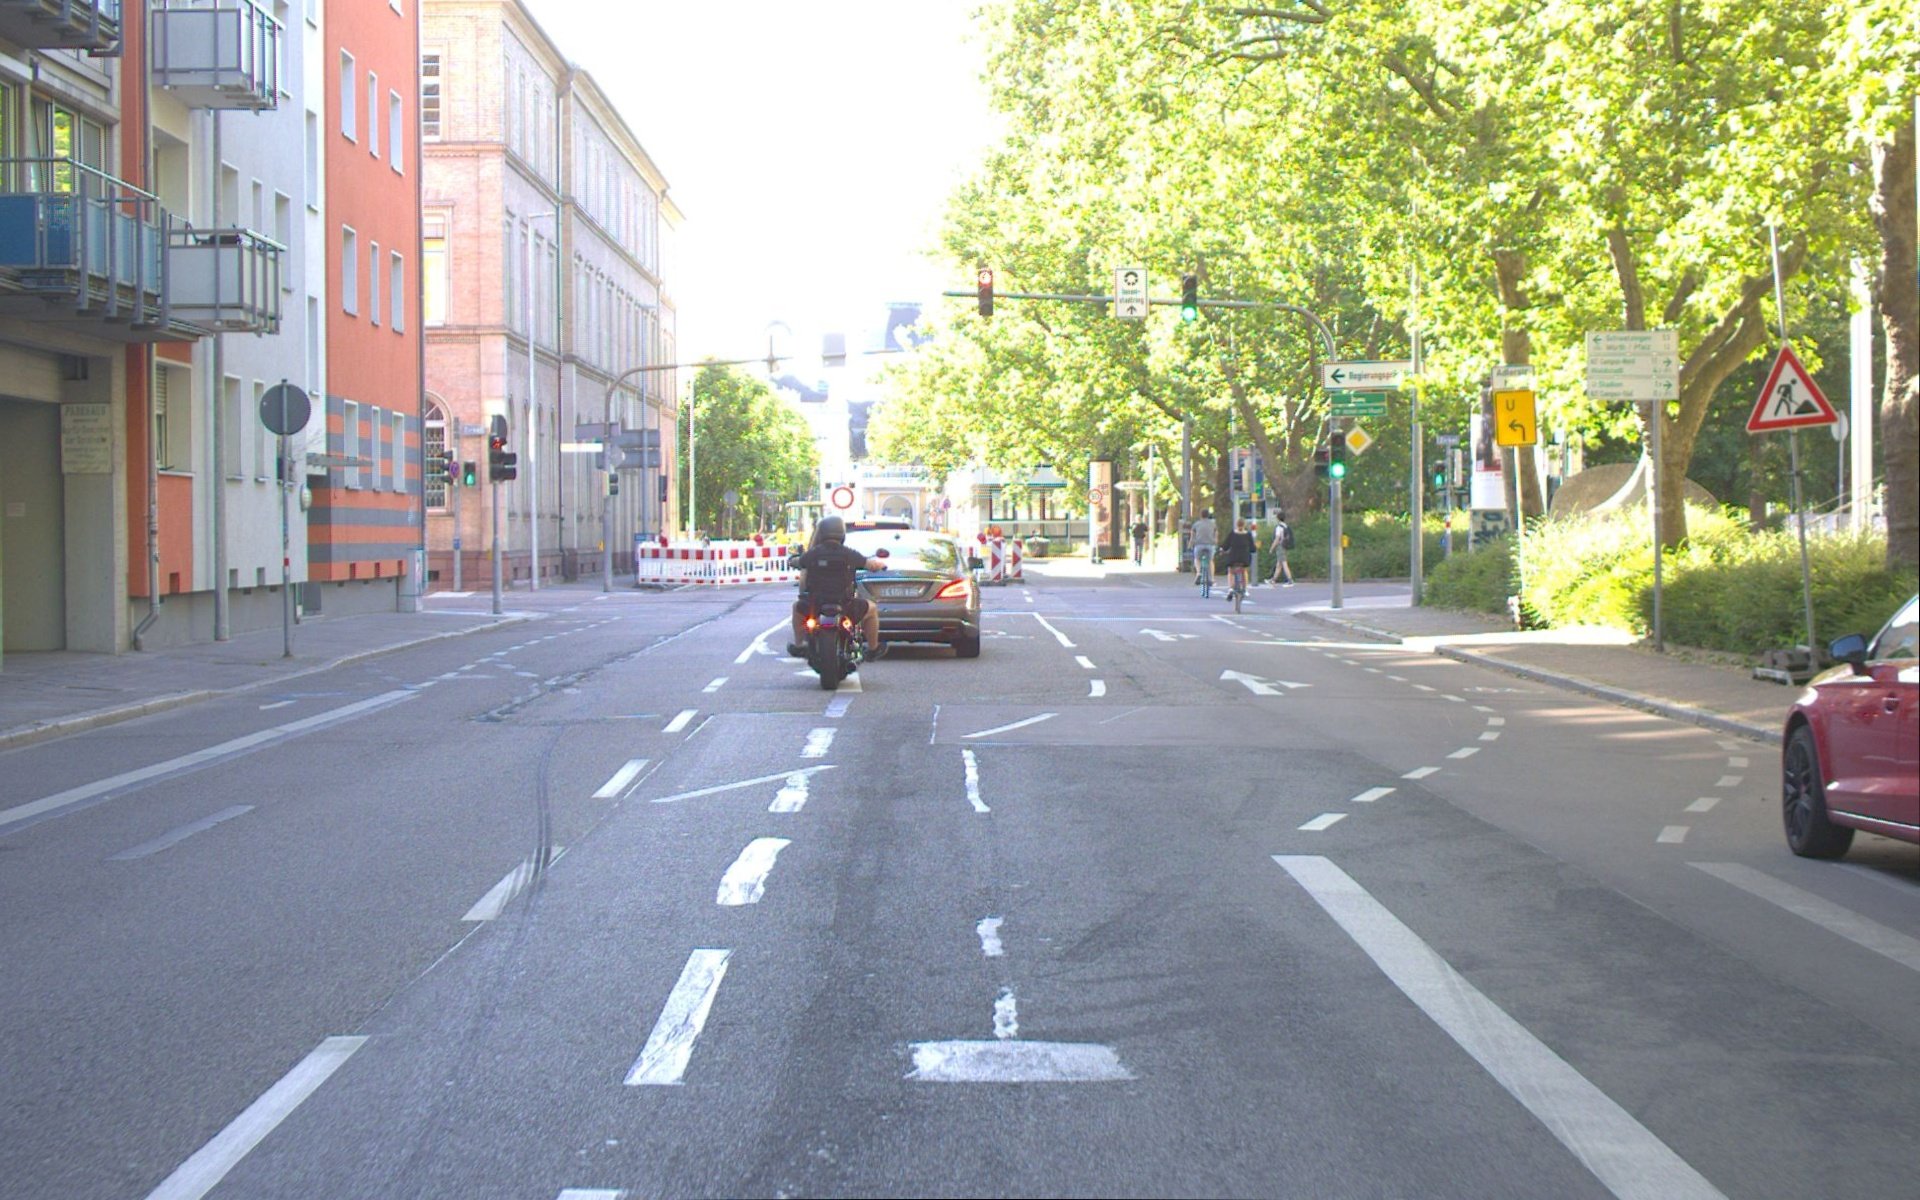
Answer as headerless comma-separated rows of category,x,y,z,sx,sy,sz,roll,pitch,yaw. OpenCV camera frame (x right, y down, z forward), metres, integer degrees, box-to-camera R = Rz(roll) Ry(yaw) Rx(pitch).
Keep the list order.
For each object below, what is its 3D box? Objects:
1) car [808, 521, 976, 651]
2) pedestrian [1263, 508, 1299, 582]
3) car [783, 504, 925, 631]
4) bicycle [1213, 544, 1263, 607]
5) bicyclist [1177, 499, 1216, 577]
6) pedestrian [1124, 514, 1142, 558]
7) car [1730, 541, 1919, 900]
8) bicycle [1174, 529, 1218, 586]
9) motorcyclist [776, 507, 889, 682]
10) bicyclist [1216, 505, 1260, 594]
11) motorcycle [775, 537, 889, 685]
car,-0.776,-0.197,39.315,1.828,1.415,3.815,0,1,-1
pedestrian,7.786,-1.340,83.411,0.570,1.768,0.625,1,1,-32
car,-1.495,-0.456,47.160,1.630,1.645,3.851,1,1,-6
bicycle,4.829,-0.436,59.803,0.656,1.066,1.927,1,1,-1
bicyclist,4.718,-1.237,68.638,0.656,1.525,0.906,1,1,-1
pedestrian,6.258,-2.323,124.364,0.592,1.573,0.527,1,1,0
car,4.760,0.512,14.732,1.692,1.444,4.437,2,1,-3
bicycle,4.704,-0.853,68.595,0.656,1.107,2.186,1,1,-1
motorcyclist,-1.181,-0.070,32.166,1.012,1.596,1.406,-1,1,-1
bicyclist,4.834,-0.883,59.785,0.656,1.525,0.852,1,1,-1
motorcycle,-1.175,0.075,32.197,1.012,1.302,2.673,-1,1,-1
